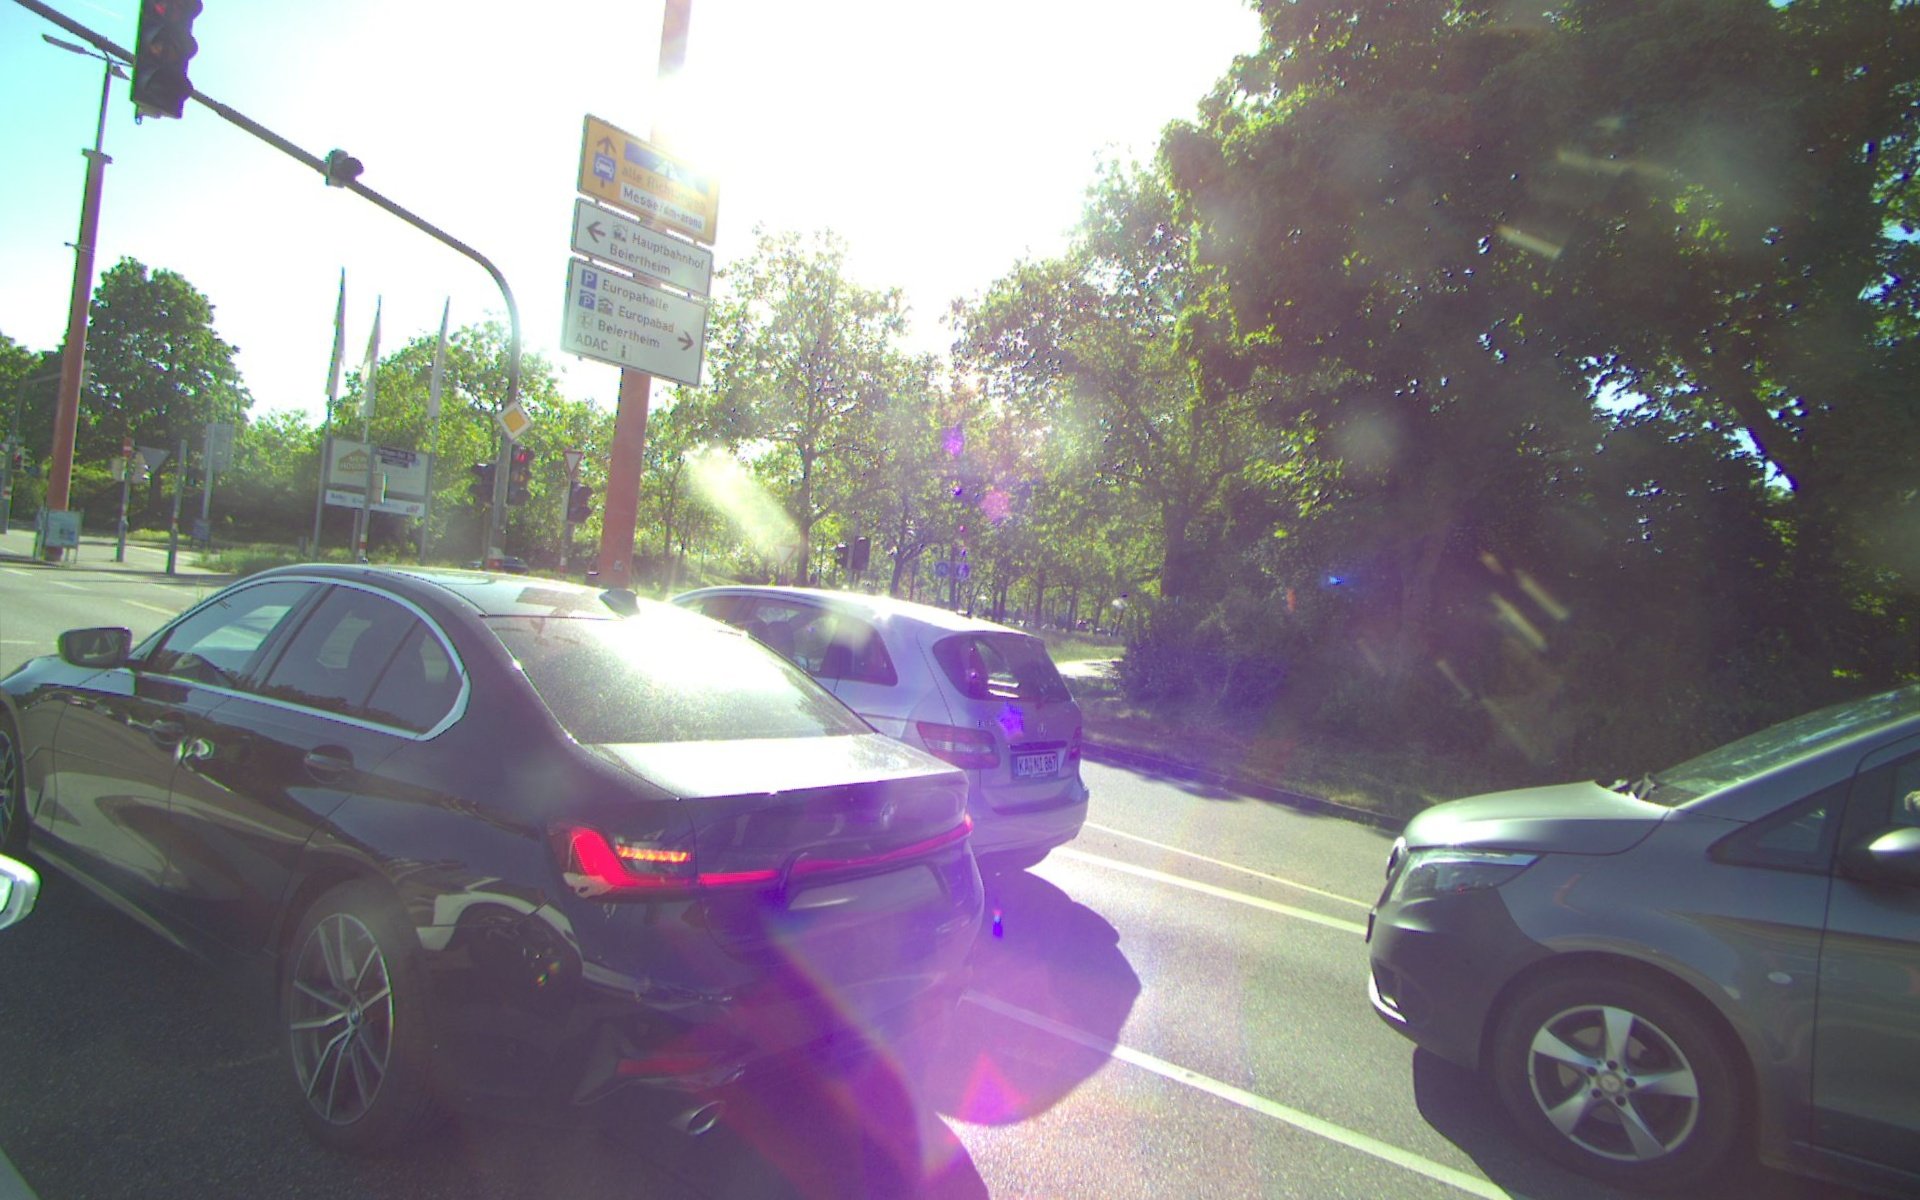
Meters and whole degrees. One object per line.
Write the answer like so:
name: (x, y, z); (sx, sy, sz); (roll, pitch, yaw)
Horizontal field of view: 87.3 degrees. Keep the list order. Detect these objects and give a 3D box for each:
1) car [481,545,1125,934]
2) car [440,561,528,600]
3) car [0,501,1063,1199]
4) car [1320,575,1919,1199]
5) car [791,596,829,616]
car: (-1.103, 0.694, 6.524); (3.784, 1.626, 1.719); (6, -2, 32)
car: (-28.353, -1.134, 59.991); (1.746, 1.654, 4.280); (6, -3, 42)
car: (-1.964, 0.578, 3.787); (4.226, 1.458, 1.766); (6, -2, 34)
car: (4.002, 1.150, 3.080); (5.021, 1.875, 1.806); (7, 0, 34)
car: (-15.302, 0.646, 103.122); (1.737, 1.655, 4.297); (7, -1, 23)
